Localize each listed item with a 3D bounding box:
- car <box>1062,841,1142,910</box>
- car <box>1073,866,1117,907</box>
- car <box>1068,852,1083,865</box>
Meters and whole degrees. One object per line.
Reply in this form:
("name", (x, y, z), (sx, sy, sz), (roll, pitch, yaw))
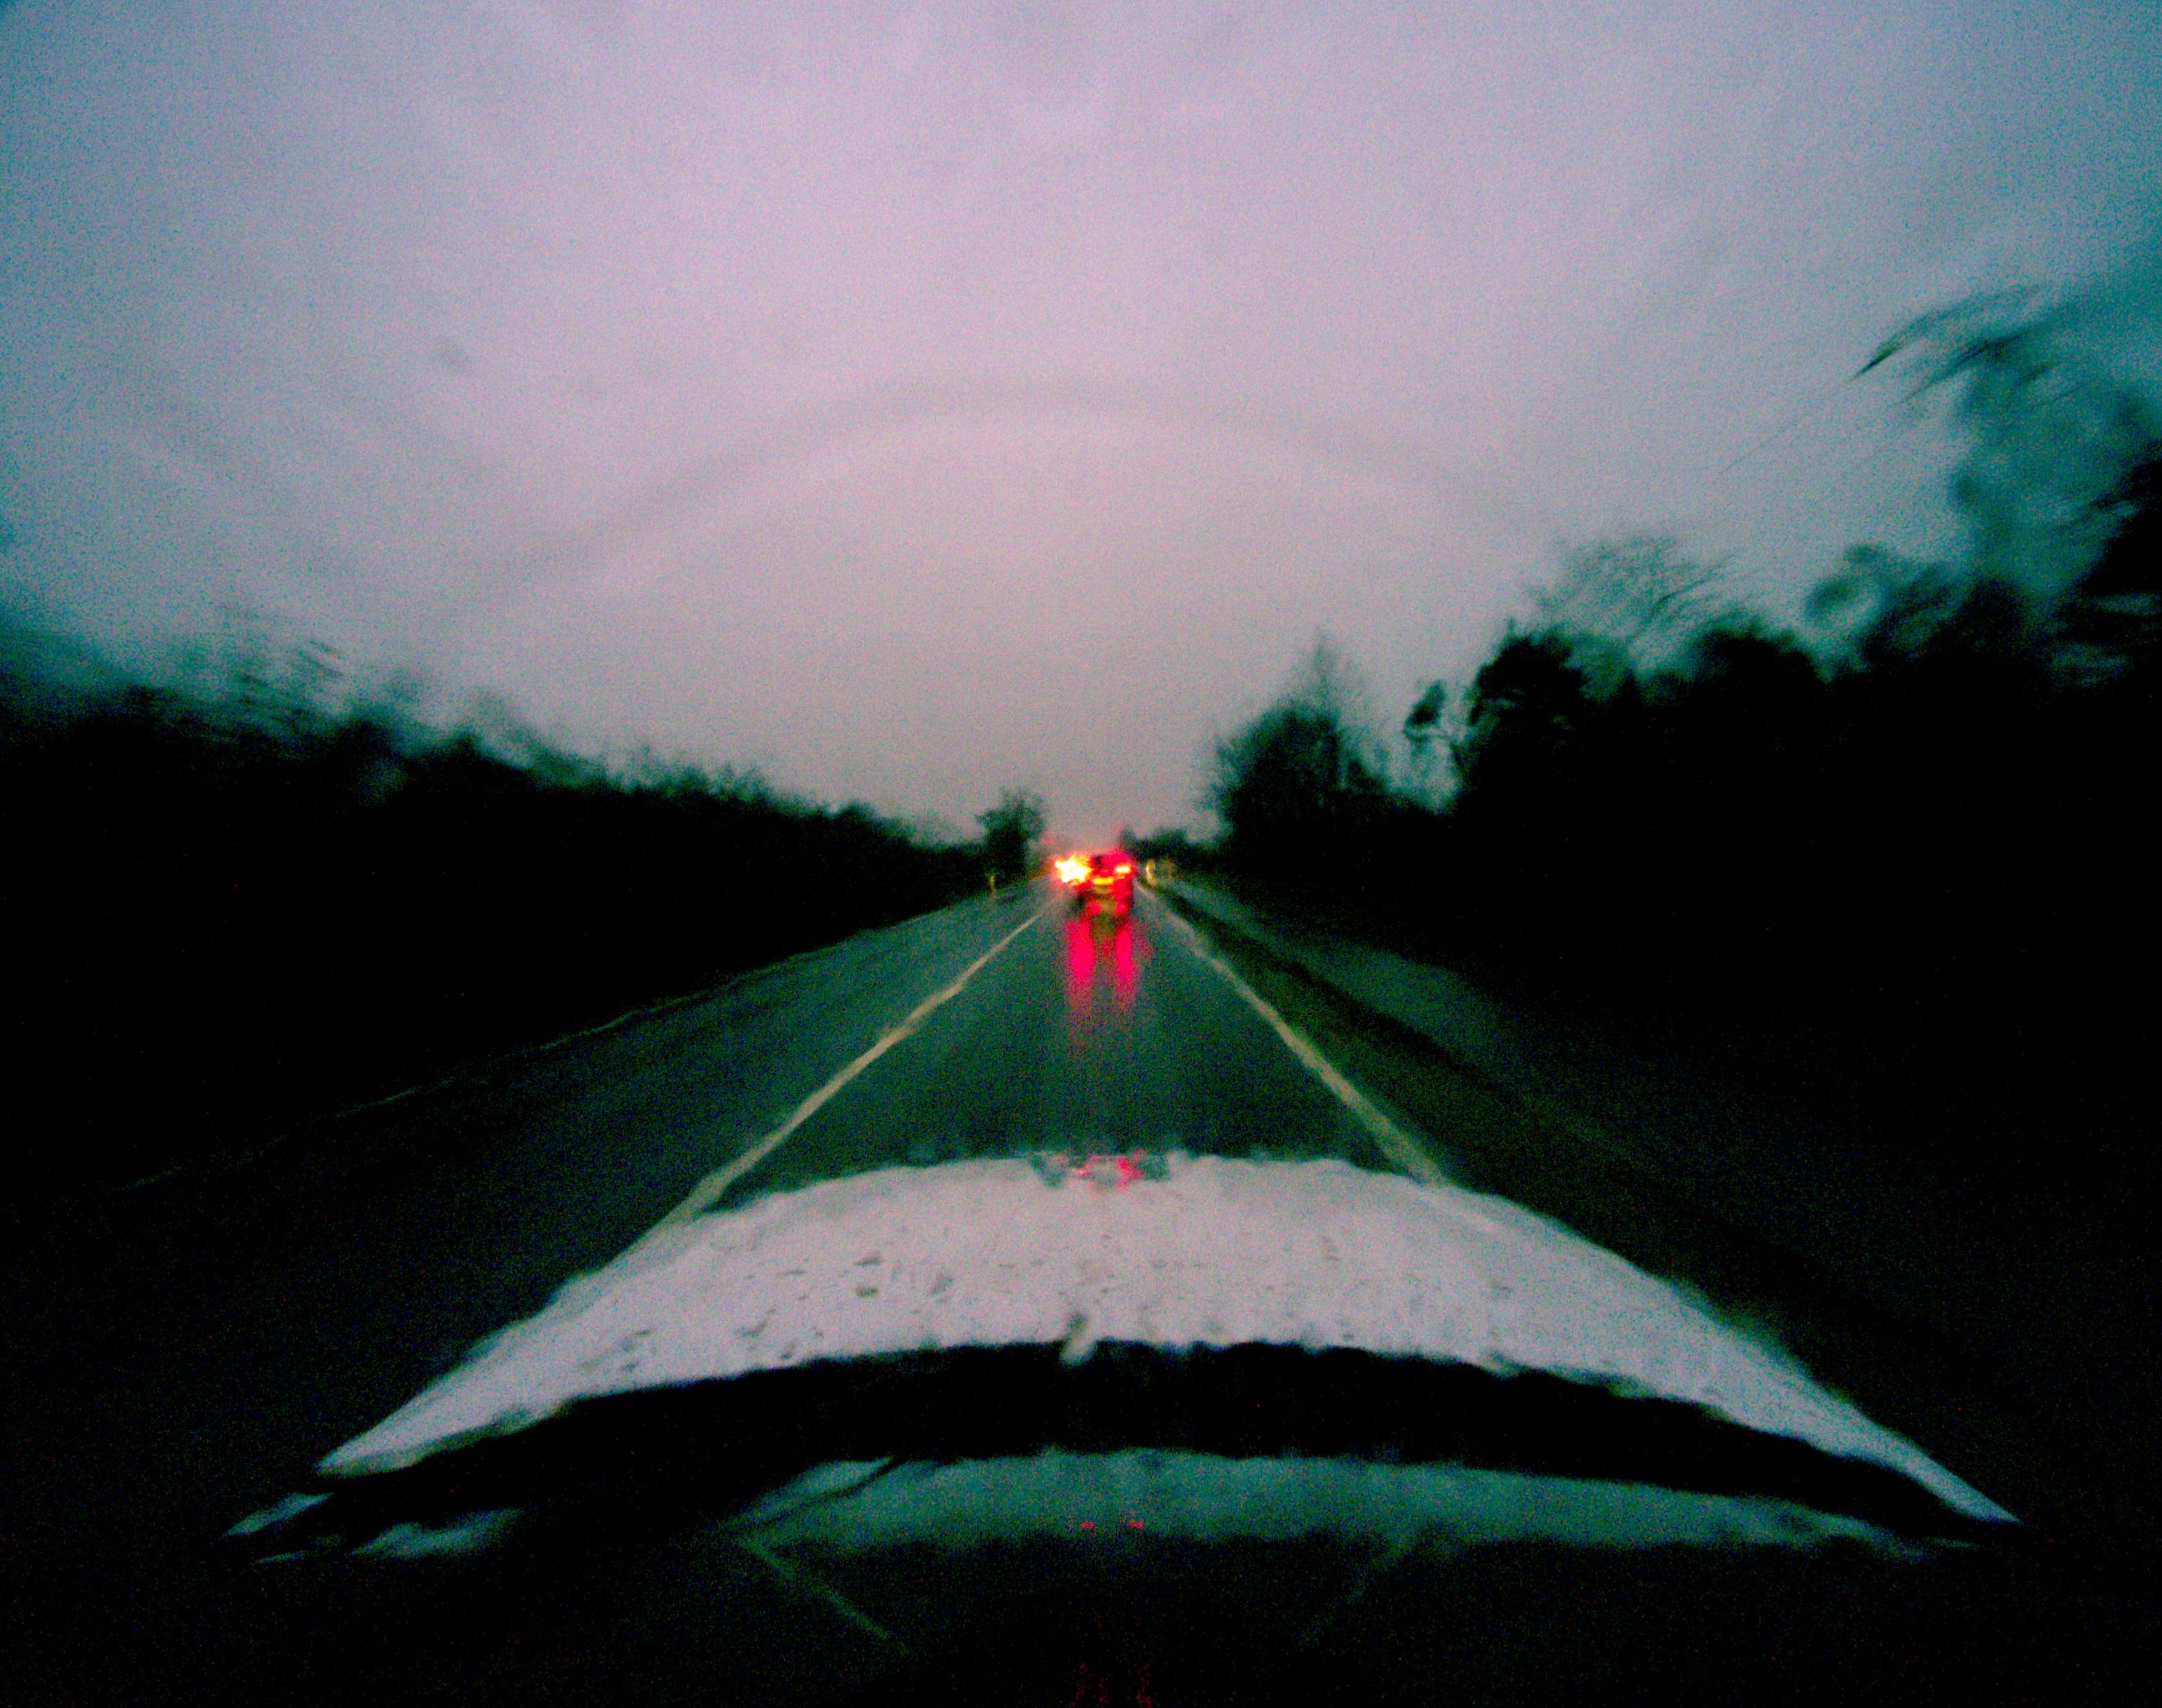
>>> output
("car", (0.653, 0.569, 24.377), (2.112, 1.820, 4.982), (-1, 0, 2))
("car", (0.710, 1.525, 39.464), (1.986, 1.849, 4.002), (-1, 0, 2))
("car", (-0.619, 0.508, 100.465), (1.626, 1.457, 3.983), (-4, 0, 1))
